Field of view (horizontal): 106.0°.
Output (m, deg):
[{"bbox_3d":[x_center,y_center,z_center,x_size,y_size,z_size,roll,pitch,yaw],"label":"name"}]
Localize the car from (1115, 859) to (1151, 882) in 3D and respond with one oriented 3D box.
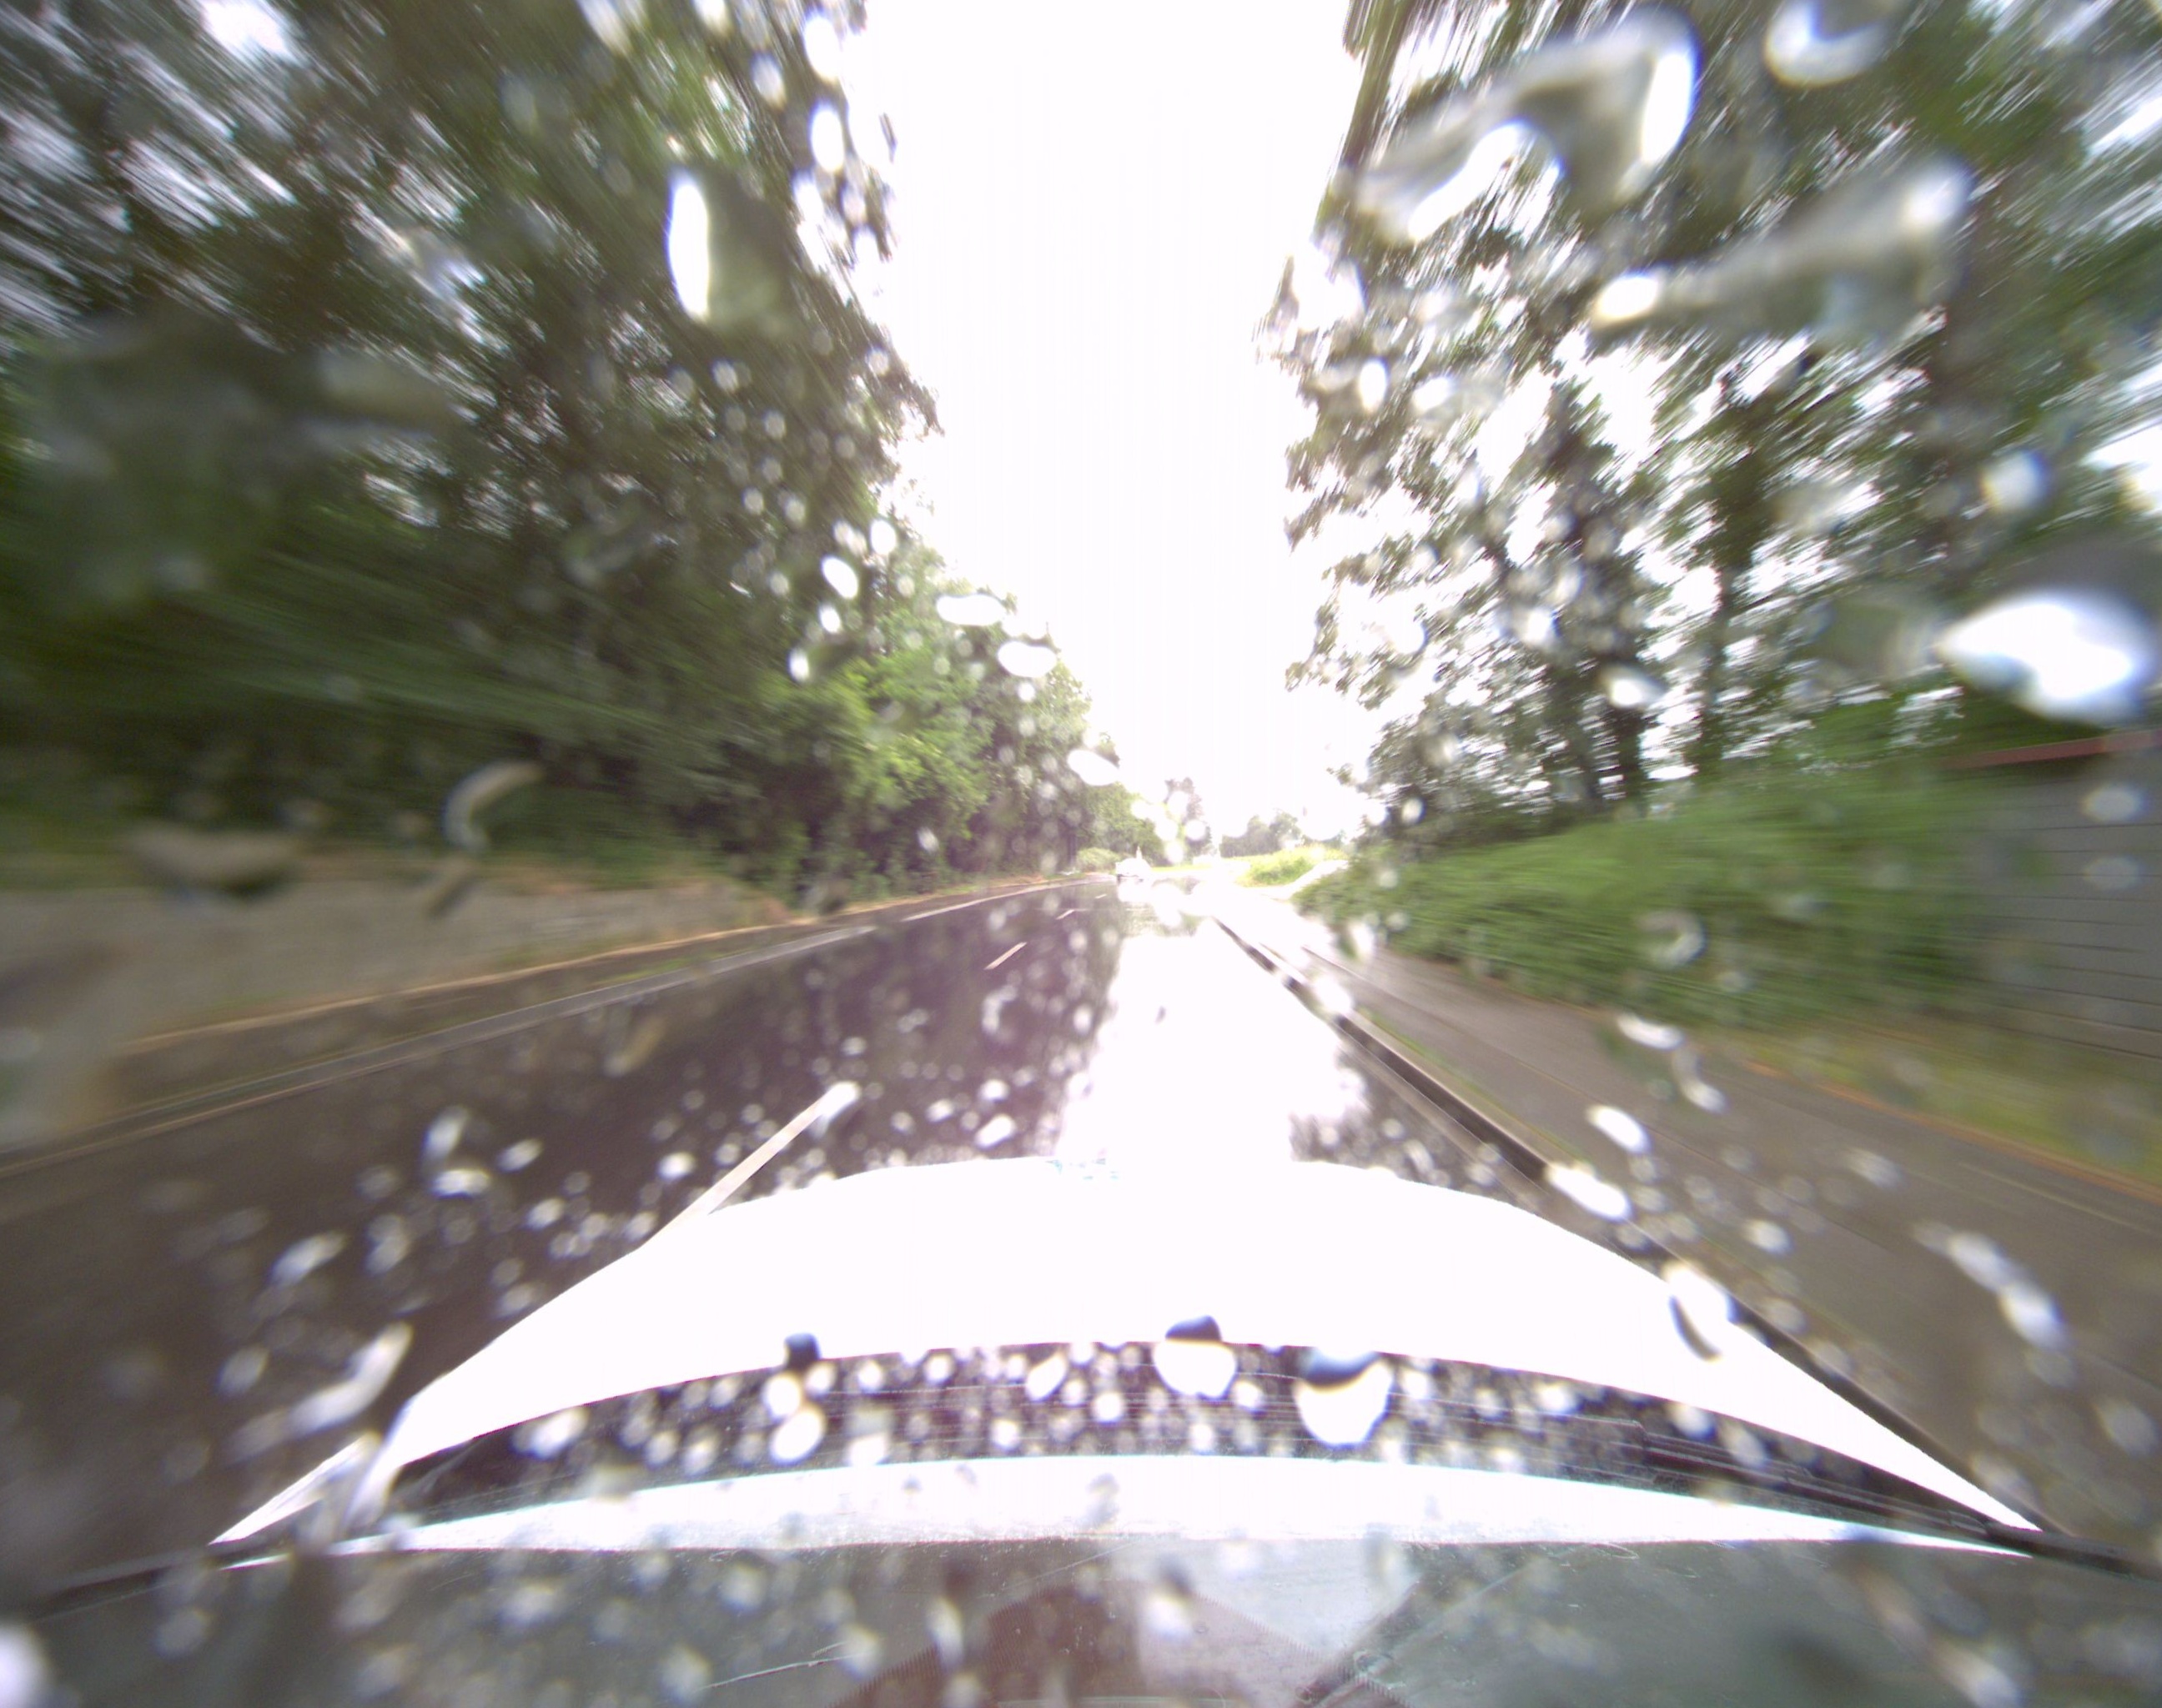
[{"bbox_3d":[3.574,1.077,55.000,1.775,1.419,4.648,-1,0,11],"label":"car"}]
